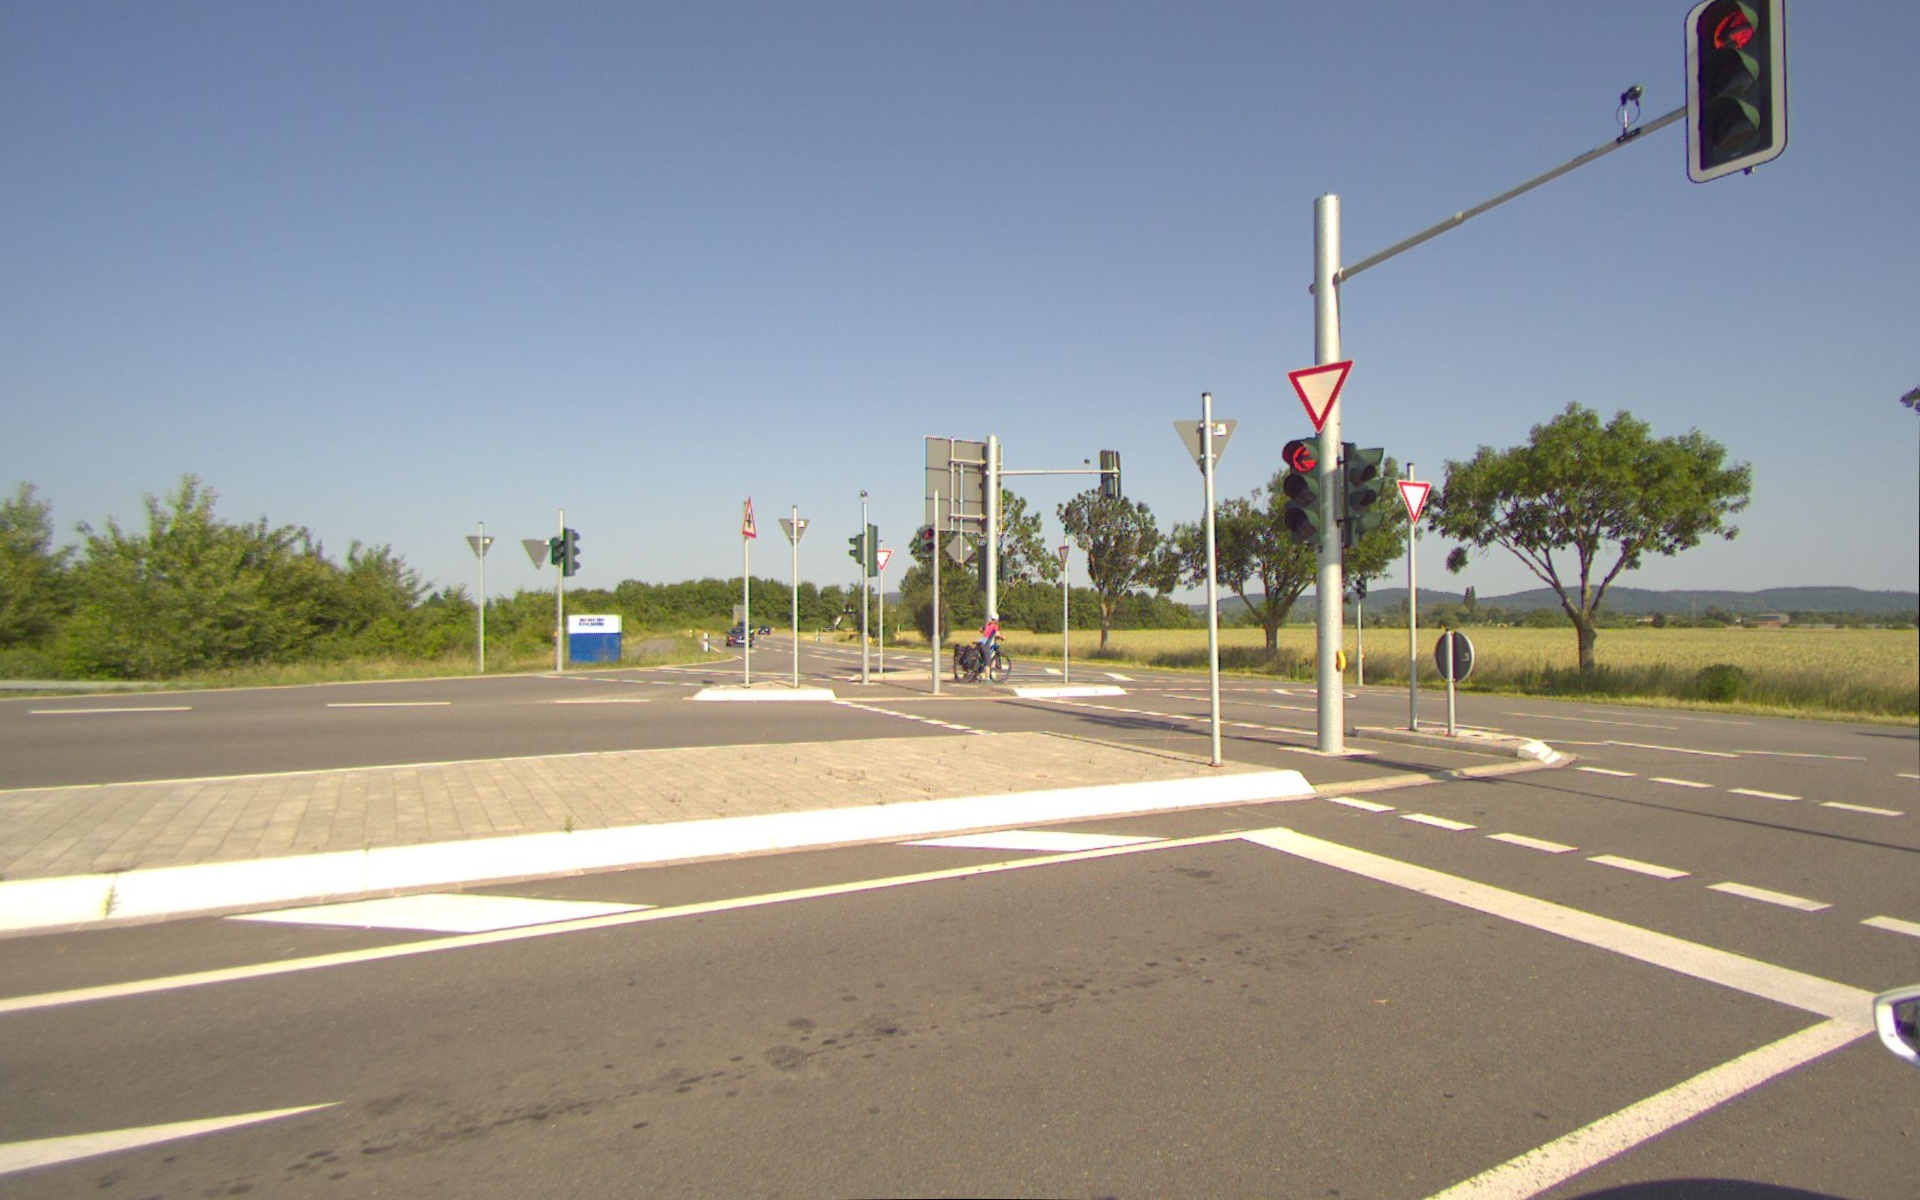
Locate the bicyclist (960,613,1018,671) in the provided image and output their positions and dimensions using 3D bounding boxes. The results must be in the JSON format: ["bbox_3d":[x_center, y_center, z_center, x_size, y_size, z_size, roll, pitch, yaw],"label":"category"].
[{"bbox_3d":[0.699,1.010,24.307,1.062,1.369,0.851,2,-1,-31],"label":"bicyclist"}]

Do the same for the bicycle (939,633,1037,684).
[{"bbox_3d":[0.677,1.413,24.256,2.126,1.164,1.065,3,-1,-31],"label":"bicycle"}]

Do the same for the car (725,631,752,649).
[{"bbox_3d":[-15.343,2.767,69.493,1.711,1.127,3.990,2,-2,-13],"label":"car"}]

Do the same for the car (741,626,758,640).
[{"bbox_3d":[-23.278,3.622,111.013,1.830,1.562,3.991,1,-2,-13],"label":"car"}]
